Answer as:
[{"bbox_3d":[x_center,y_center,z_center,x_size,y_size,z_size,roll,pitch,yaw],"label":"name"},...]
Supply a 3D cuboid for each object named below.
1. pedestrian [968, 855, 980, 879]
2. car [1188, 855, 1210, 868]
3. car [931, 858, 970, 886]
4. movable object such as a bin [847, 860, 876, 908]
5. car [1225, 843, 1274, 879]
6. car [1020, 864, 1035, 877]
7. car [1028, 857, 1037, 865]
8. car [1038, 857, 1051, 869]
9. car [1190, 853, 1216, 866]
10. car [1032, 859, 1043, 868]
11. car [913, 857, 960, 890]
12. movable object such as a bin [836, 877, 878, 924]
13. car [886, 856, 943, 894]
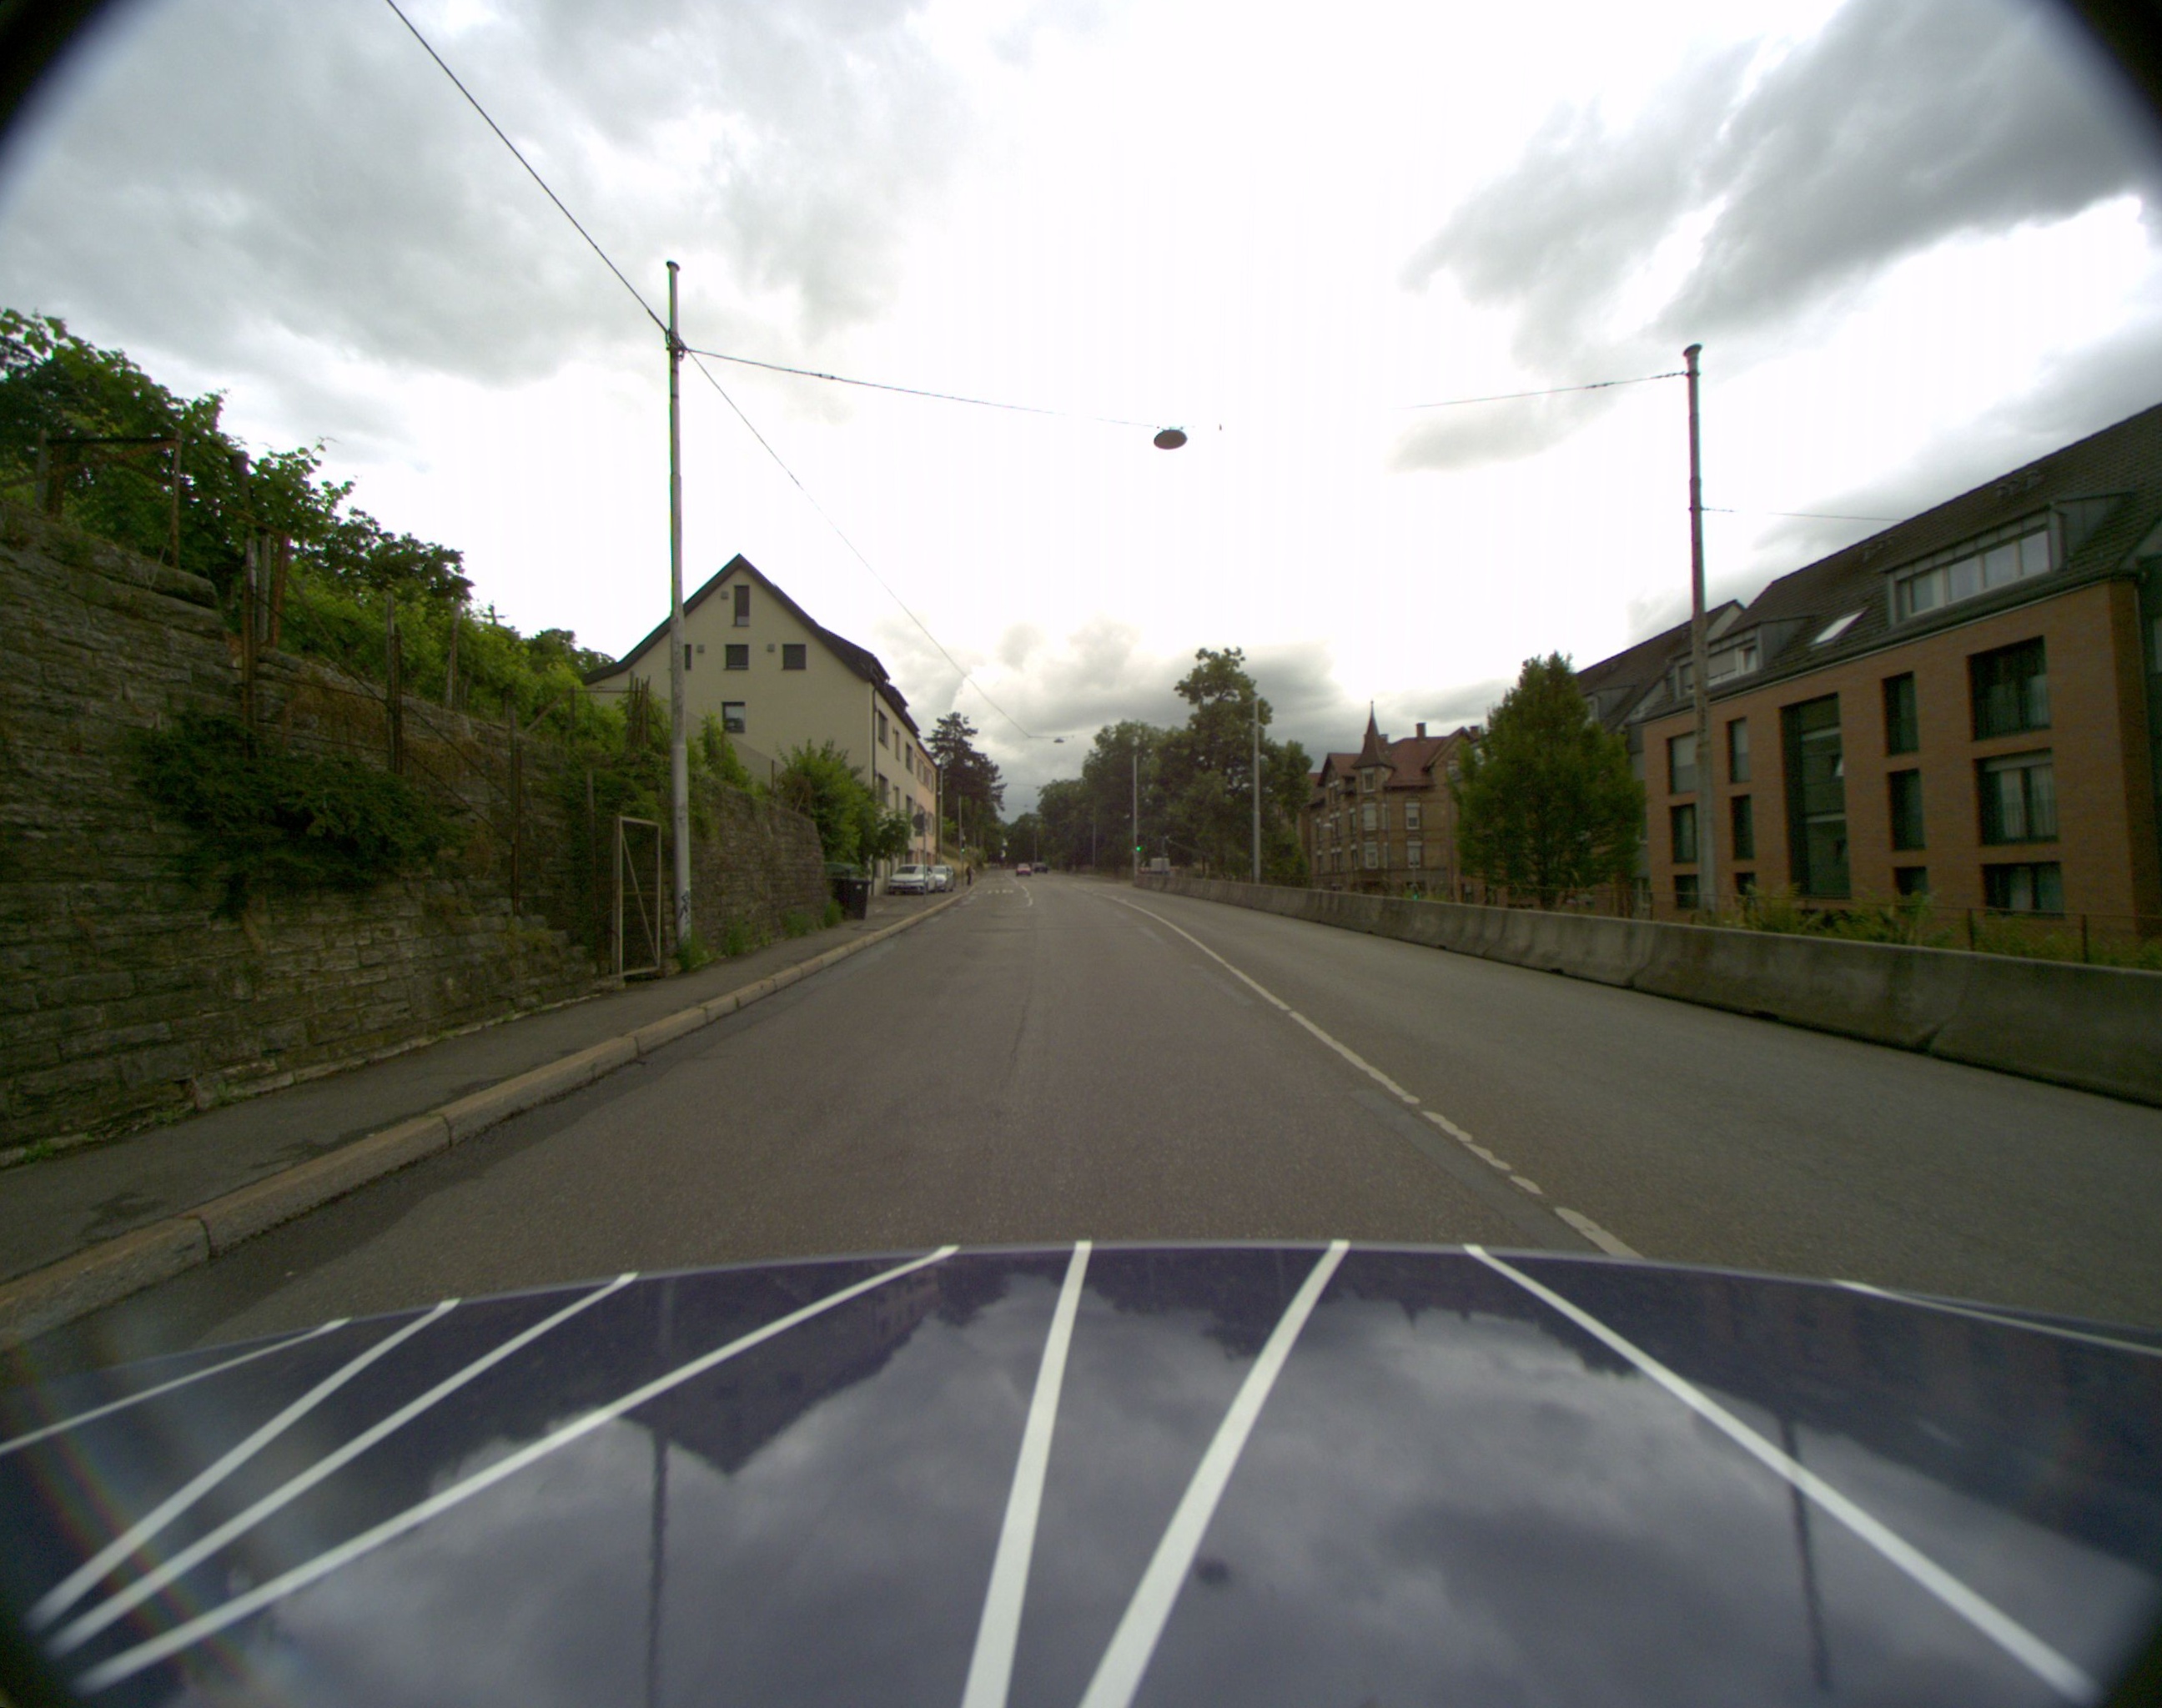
[{"bbox_3d":[-7.740,0.962,54.878,0.735,1.702,0.696,-1,0,2],"label":"pedestrian"},{"bbox_3d":[13.686,0.859,88.301,1.999,1.543,4.000,-1,0,-1],"label":"car"},{"bbox_3d":[-8.308,1.100,48.760,1.909,1.566,4.247,-2,1,-3],"label":"car"},{"bbox_3d":[-7.255,0.989,25.153,0.753,1.533,1.064,-1,0,-8],"label":"movable object such as a bin"},{"bbox_3d":[12.805,0.480,58.133,2.565,2.567,5.736,-2,1,2],"label":"car"},{"bbox_3d":[-6.291,1.900,89.525,1.646,1.429,3.999,-1,-1,-3],"label":"car"},{"bbox_3d":[-11.686,1.756,182.471,1.999,1.838,3.999,-1,0,-3],"label":"car"},{"bbox_3d":[-5.710,1.397,118.305,1.787,1.871,3.998,-1,0,-4],"label":"car"},{"bbox_3d":[12.323,0.539,76.997,1.999,1.346,4.000,0,0,-1],"label":"car"},{"bbox_3d":[-8.248,1.836,144.429,1.998,1.652,4.000,-1,0,0],"label":"car"},{"bbox_3d":[-7.713,0.986,40.975,1.732,1.566,4.248,-2,1,-1],"label":"car"},{"bbox_3d":[-5.719,1.177,19.417,0.811,1.120,0.874,-1,0,-2],"label":"movable object such as a bin"},{"bbox_3d":[-7.794,0.933,35.965,1.799,1.566,4.055,-2,1,-1],"label":"car"}]
